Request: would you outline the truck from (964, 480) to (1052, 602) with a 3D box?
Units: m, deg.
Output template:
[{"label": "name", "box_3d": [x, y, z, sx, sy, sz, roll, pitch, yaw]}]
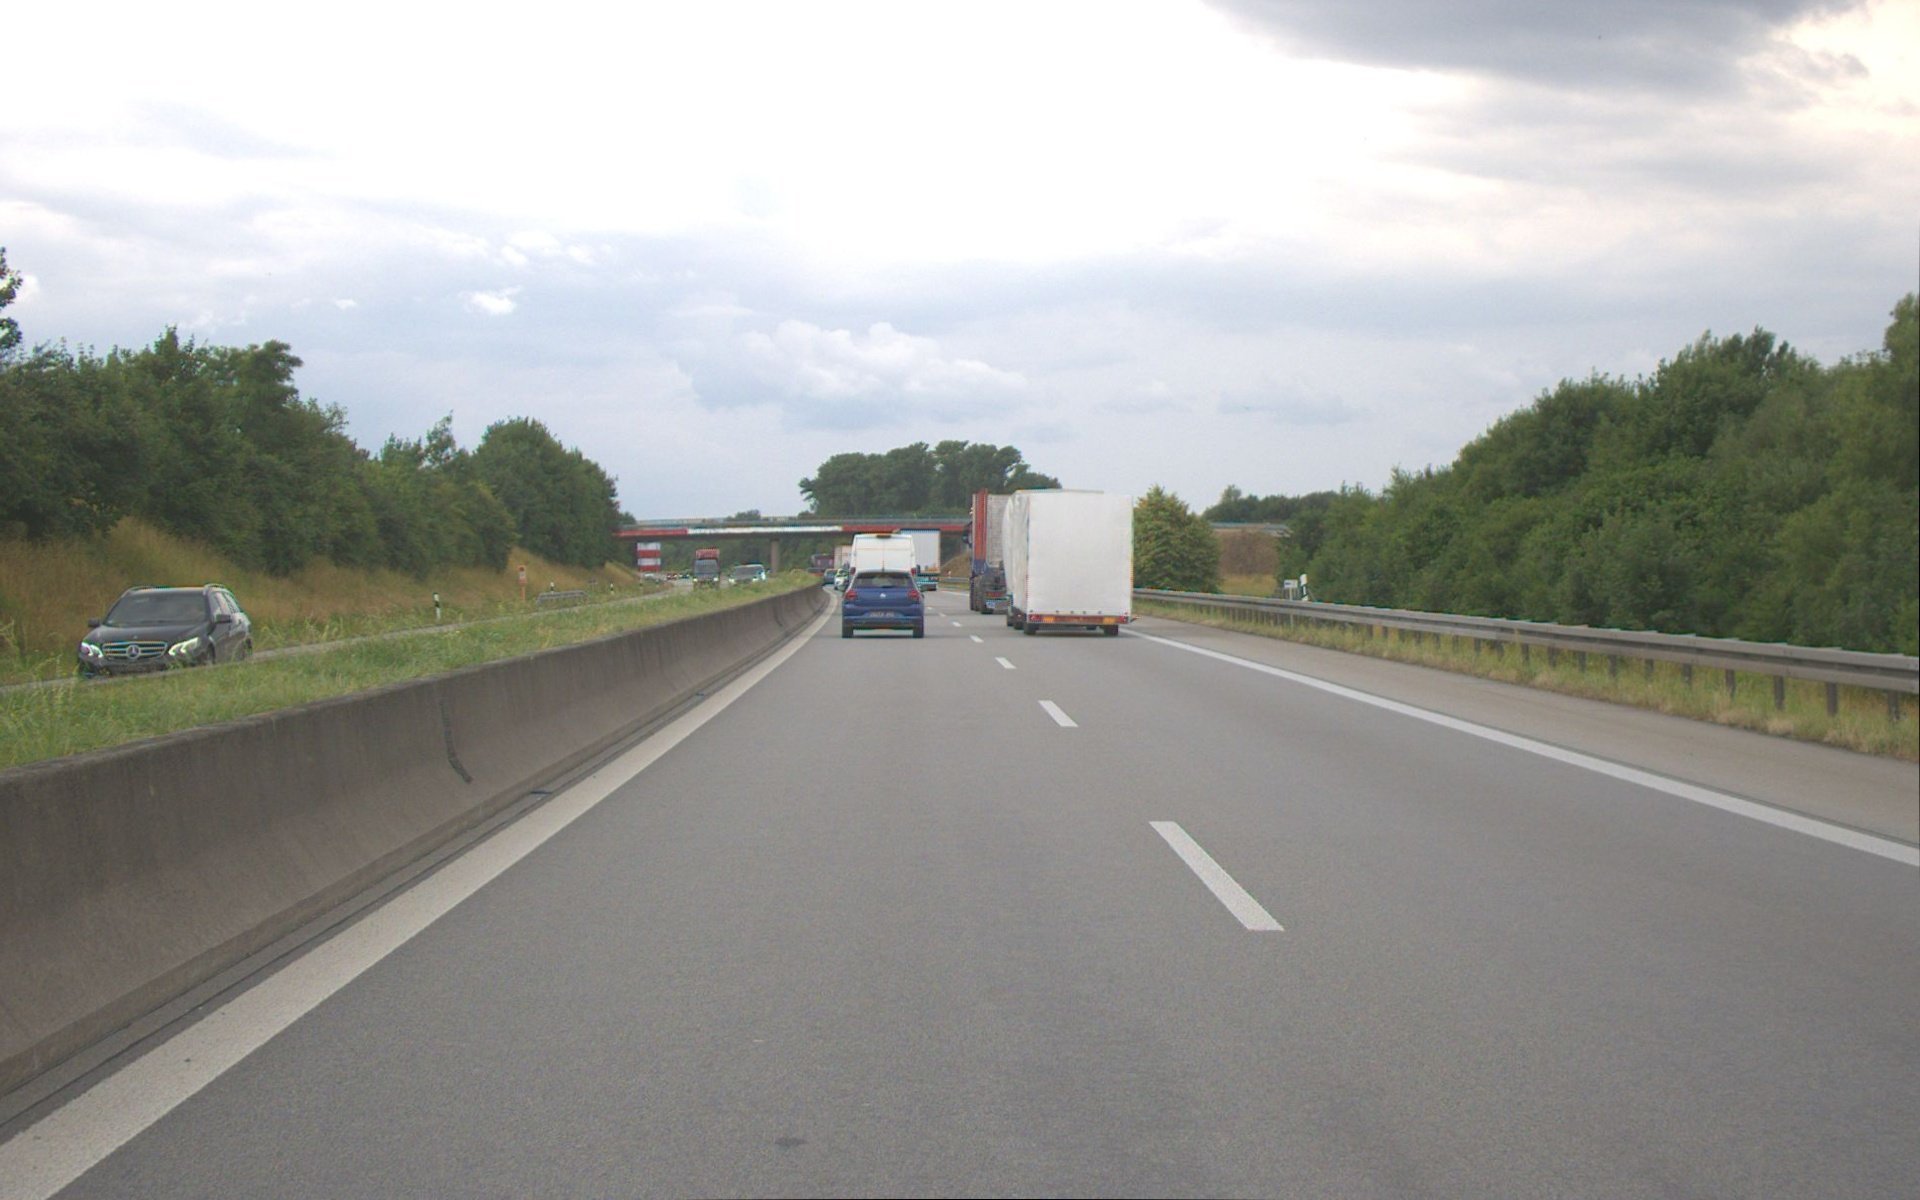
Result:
[{"label": "truck", "box_3d": [1.592, -2.015, 117.098, 2.673, 4.032, 5.513, -1, 1, -2]}]

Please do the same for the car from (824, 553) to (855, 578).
[{"label": "car", "box_3d": [-8.198, -2.315, 233.210, 1.993, 1.678, 4.001, 0, 0, -3]}]

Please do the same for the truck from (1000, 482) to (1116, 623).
[{"label": "truck", "box_3d": [2.303, -1.127, 82.769, 2.429, 3.232, 7.247, 0, 0, -1]}]

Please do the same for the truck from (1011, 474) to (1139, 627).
[{"label": "truck", "box_3d": [2.458, -1.067, 75.579, 2.415, 3.211, 7.144, 0, 0, -1]}]

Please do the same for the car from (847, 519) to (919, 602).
[{"label": "car", "box_3d": [-2.407, -1.222, 106.510, 2.130, 2.474, 5.840, 0, 0, -2]}]

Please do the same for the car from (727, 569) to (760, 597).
[{"label": "car", "box_3d": [-13.826, -1.118, 219.831, 1.919, 1.688, 4.597, -2, 1, -1]}]

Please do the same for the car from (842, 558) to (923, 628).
[{"label": "car", "box_3d": [-1.613, -0.166, 72.057, 1.663, 1.402, 3.648, 0, 1, -1]}]

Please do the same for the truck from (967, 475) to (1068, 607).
[{"label": "truck", "box_3d": [1.793, -1.917, 111.739, 2.673, 4.032, 11.108, -1, 1, -2]}]

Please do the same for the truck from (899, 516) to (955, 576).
[{"label": "truck", "box_3d": [-2.189, -3.475, 224.295, 3.110, 3.677, 9.324, -2, 1, -3]}]

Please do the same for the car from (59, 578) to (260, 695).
[{"label": "car", "box_3d": [-11.624, 0.490, 50.200, 1.845, 1.492, 4.580, -3, 1, -1]}]
